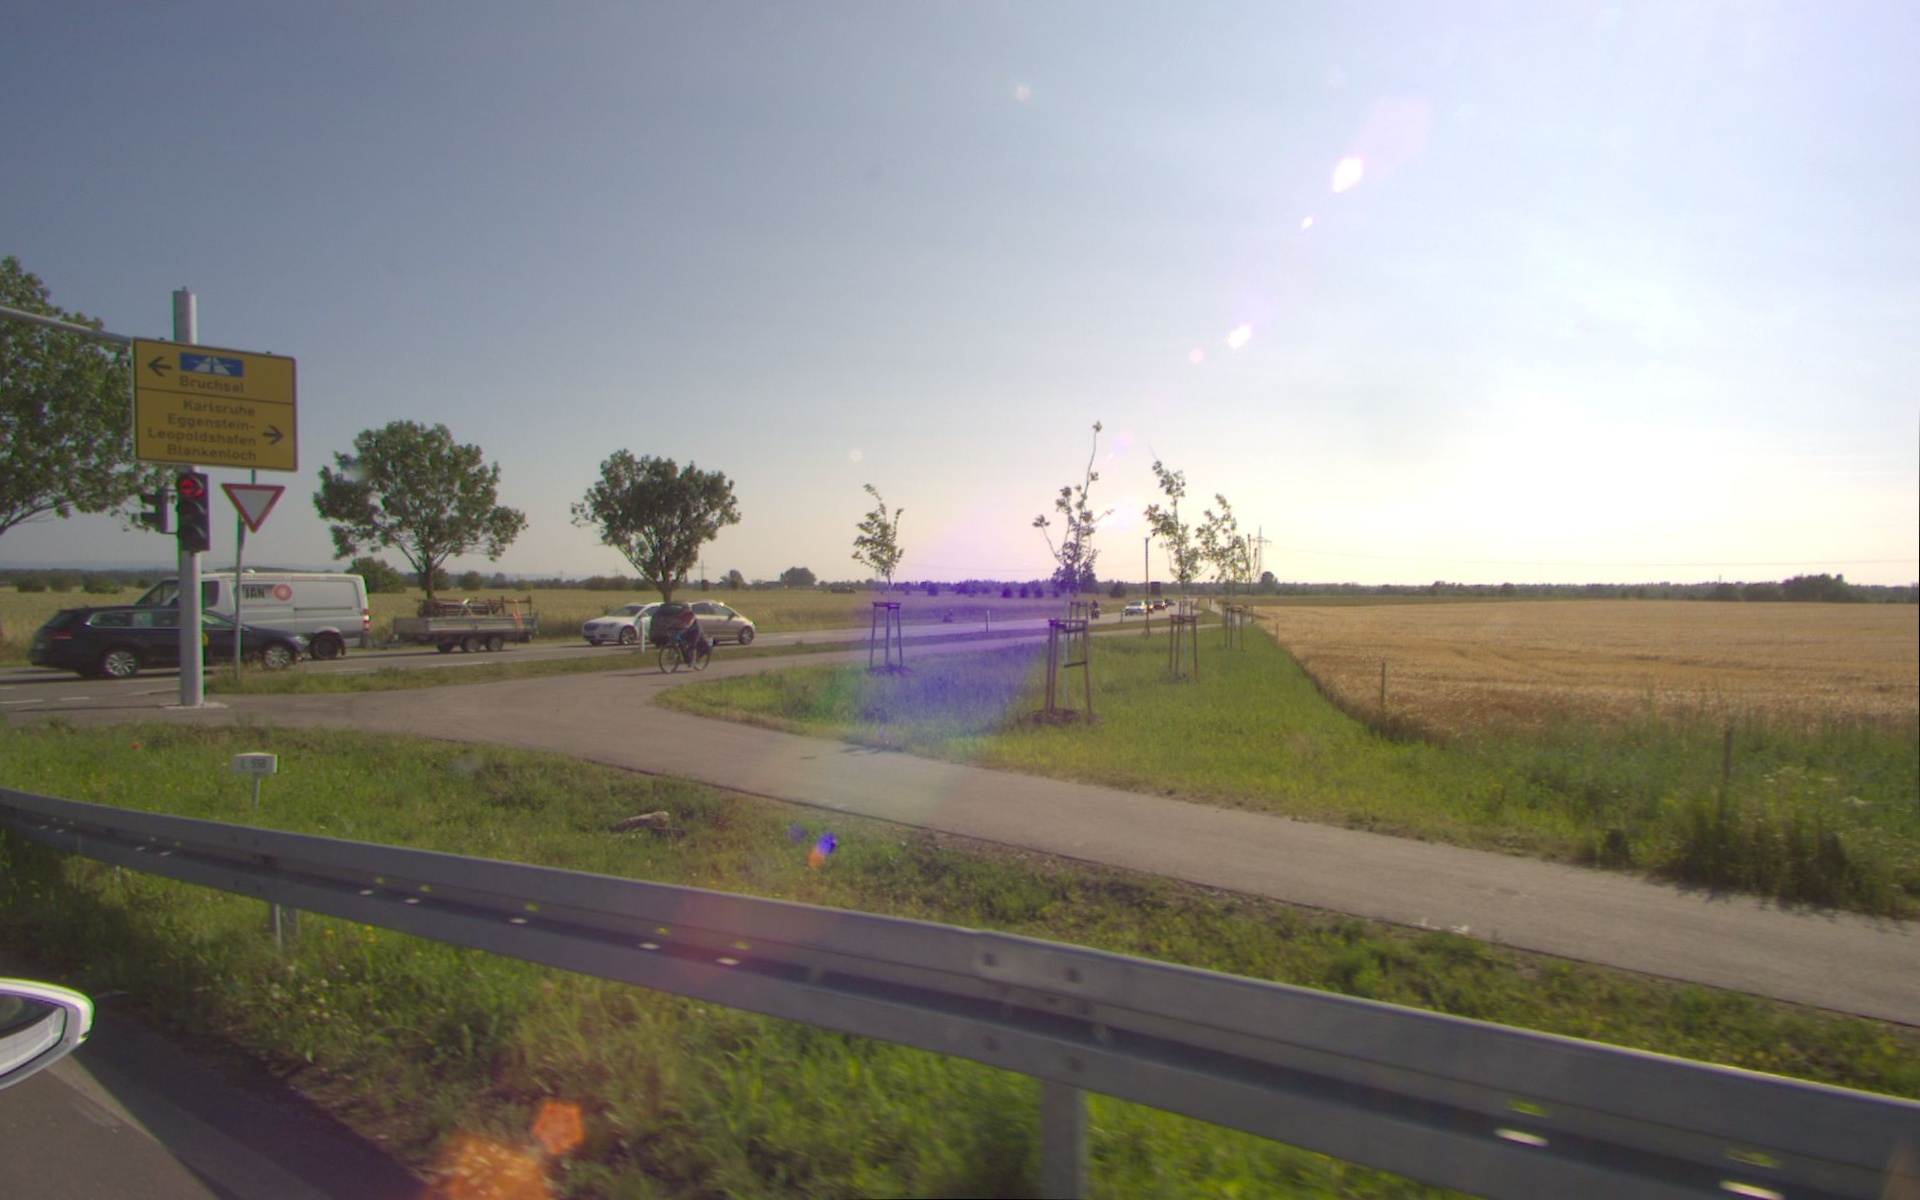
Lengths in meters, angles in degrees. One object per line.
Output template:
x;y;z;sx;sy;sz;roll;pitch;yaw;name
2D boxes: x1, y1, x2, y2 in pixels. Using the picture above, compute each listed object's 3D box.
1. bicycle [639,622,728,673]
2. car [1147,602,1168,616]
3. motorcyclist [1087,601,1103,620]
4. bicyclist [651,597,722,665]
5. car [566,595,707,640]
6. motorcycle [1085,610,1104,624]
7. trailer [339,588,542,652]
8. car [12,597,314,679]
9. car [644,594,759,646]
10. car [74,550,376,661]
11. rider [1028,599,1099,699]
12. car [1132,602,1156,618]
-6.917;1.159;25.165;0.877;1.201;2.153;0;-1;30;bicycle
26.984;1.230;136.786;1.964;1.714;4.873;3;2;20;car
11.047;0.857;81.965;1.013;1.479;1.066;1;0;29;motorcyclist
-6.884;0.758;25.261;1.148;1.623;1.277;2;1;30;bicyclist
-11.772;0.674;36.776;1.970;1.529;4.864;0;-2;30;car
11.018;1.416;81.970;0.836;1.133;2.139;1;-1;29;motorcycle
-15.656;0.567;30.489;1.926;1.776;5.249;0;0;33;trailer
-16.745;0.715;21.339;1.892;1.539;4.667;0;0;29;car
-8.887;0.722;34.749;1.735;1.689;3.955;0;-2;26;car
-18.546;0.217;25.677;1.972;2.524;5.946;0;-2;33;car
1.795;0.842;17.487;0.973;1.665;0.820;1;2;-14;rider
20.675;1.121;112.427;1.985;1.610;4.877;2;0;17;car
